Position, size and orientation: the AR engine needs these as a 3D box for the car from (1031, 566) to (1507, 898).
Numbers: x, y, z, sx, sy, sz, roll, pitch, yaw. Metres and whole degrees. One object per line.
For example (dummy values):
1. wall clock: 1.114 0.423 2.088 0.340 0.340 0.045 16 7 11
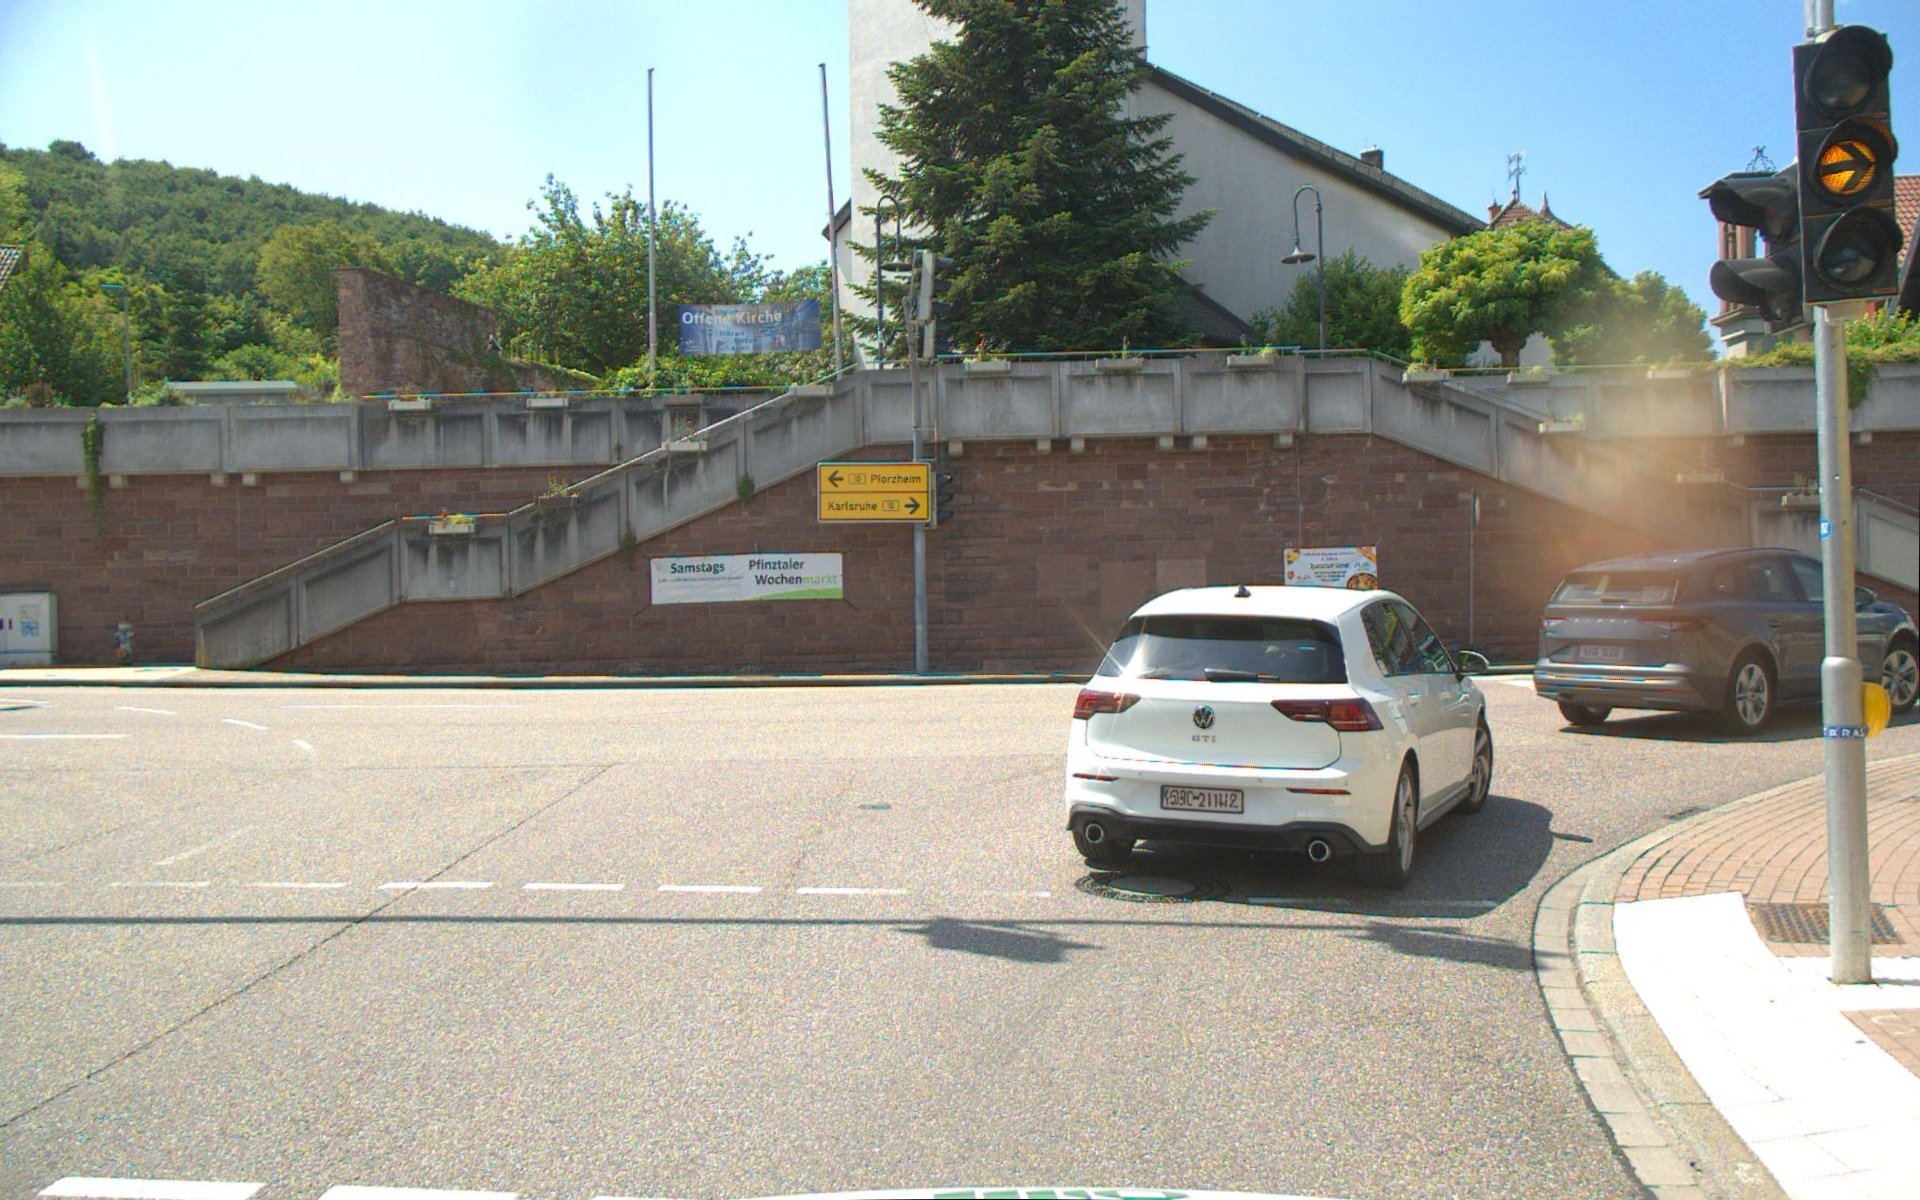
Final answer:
1. car: 1.977 0.589 9.535 1.747 1.484 3.860 -1 0 25

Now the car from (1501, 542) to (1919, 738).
1. car: 7.281 0.295 15.726 4.277 1.610 1.931 -2 0 -36
